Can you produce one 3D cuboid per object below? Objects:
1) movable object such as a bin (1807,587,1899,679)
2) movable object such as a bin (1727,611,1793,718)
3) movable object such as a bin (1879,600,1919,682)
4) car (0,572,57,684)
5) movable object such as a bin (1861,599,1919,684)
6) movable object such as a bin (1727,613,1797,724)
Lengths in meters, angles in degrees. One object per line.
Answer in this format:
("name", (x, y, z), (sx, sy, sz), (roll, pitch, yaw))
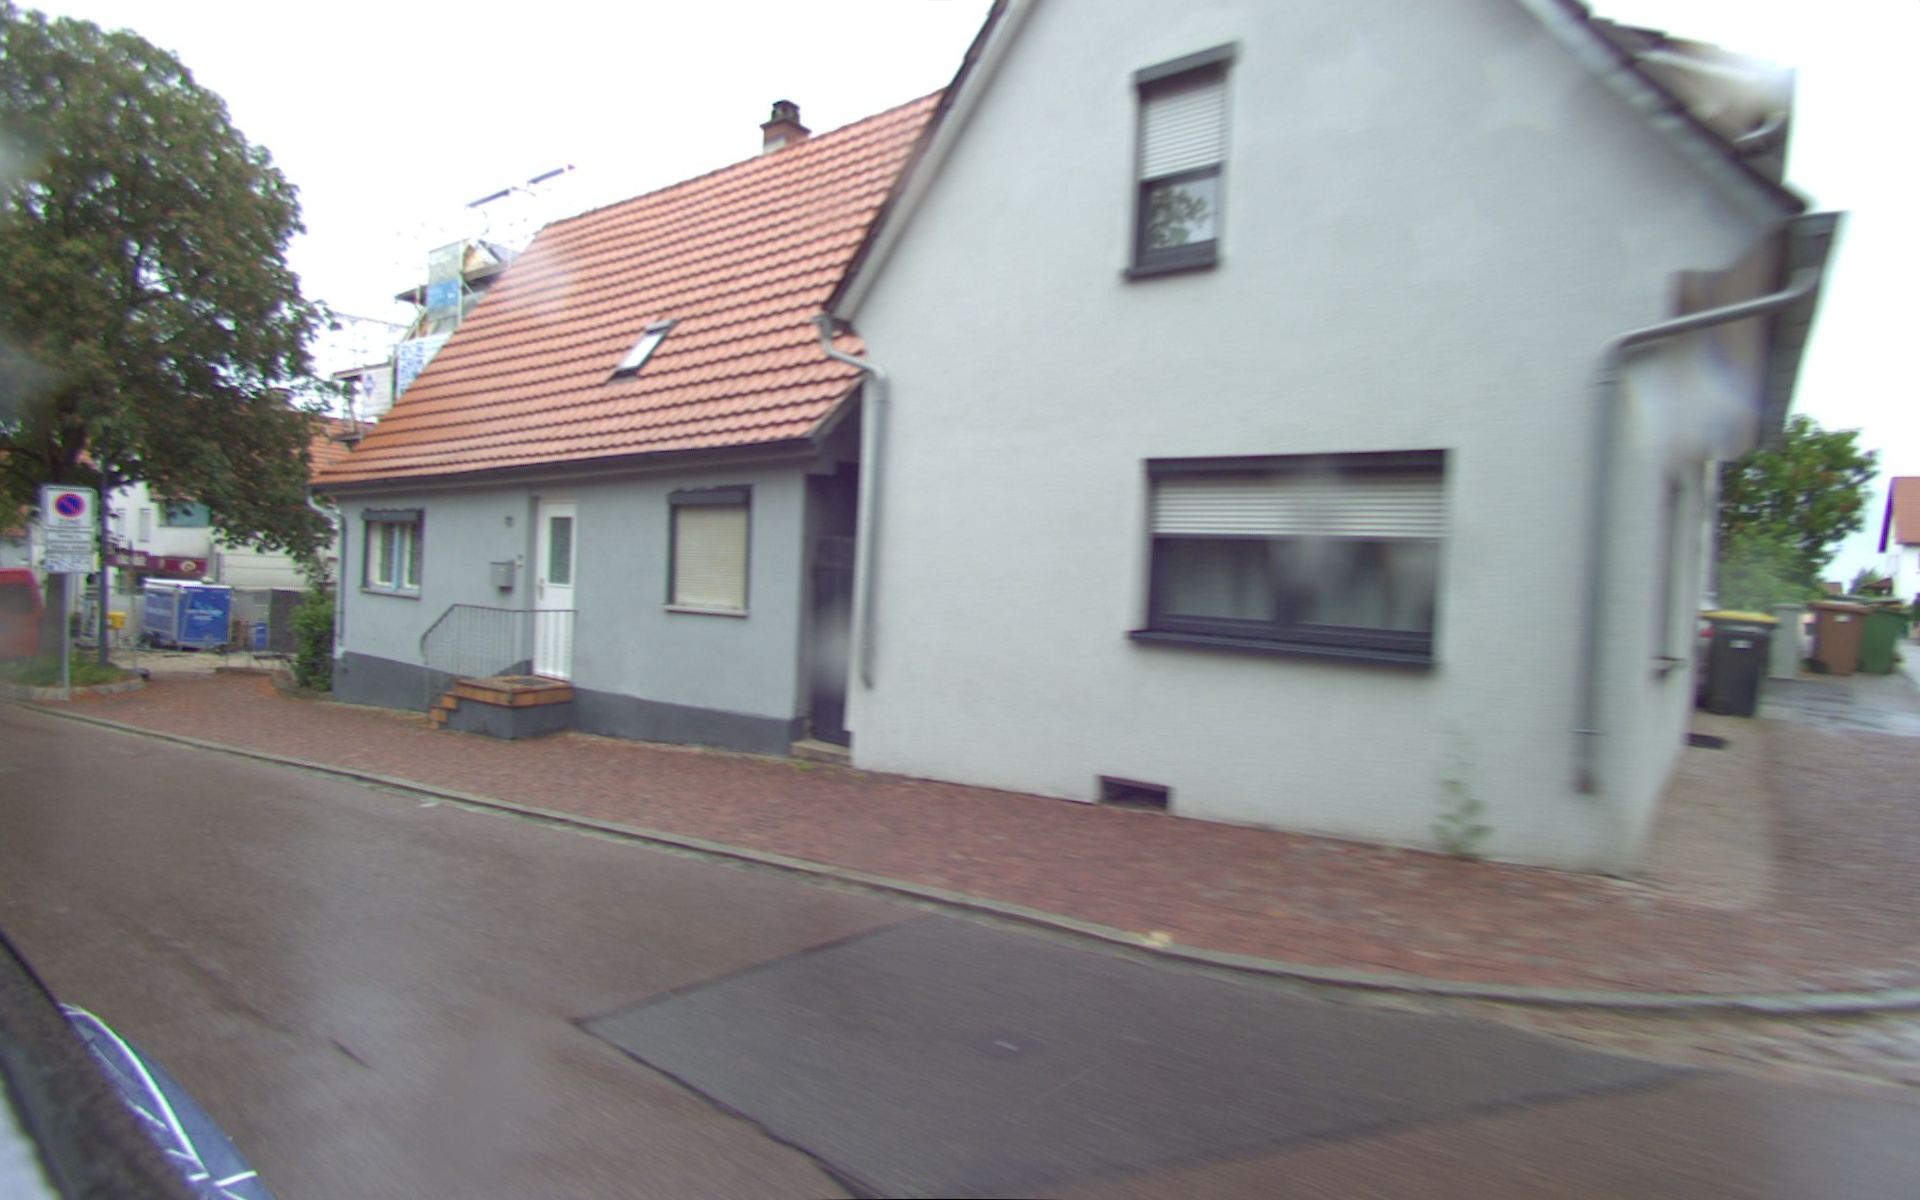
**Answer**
("movable object such as a bin", (13.124, 0.471, 14.906), (0.877, 1.249, 0.744), (6, 3, 38))
("movable object such as a bin", (8.603, 0.675, 10.887), (0.497, 1.077, 0.508), (3, 3, 38))
("movable object such as a bin", (14.985, 0.638, 15.958), (0.601, 1.247, 0.677), (2, 0, 33))
("car", (-23.761, 0.696, 24.329), (5.780, 2.502, 2.280), (-2, -2, 40))
("movable object such as a bin", (14.224, 0.619, 15.409), (0.629, 1.259, 0.628), (2, 0, 33))
("movable object such as a bin", (8.270, 0.687, 10.439), (0.504, 1.068, 0.517), (4, 3, 38))
